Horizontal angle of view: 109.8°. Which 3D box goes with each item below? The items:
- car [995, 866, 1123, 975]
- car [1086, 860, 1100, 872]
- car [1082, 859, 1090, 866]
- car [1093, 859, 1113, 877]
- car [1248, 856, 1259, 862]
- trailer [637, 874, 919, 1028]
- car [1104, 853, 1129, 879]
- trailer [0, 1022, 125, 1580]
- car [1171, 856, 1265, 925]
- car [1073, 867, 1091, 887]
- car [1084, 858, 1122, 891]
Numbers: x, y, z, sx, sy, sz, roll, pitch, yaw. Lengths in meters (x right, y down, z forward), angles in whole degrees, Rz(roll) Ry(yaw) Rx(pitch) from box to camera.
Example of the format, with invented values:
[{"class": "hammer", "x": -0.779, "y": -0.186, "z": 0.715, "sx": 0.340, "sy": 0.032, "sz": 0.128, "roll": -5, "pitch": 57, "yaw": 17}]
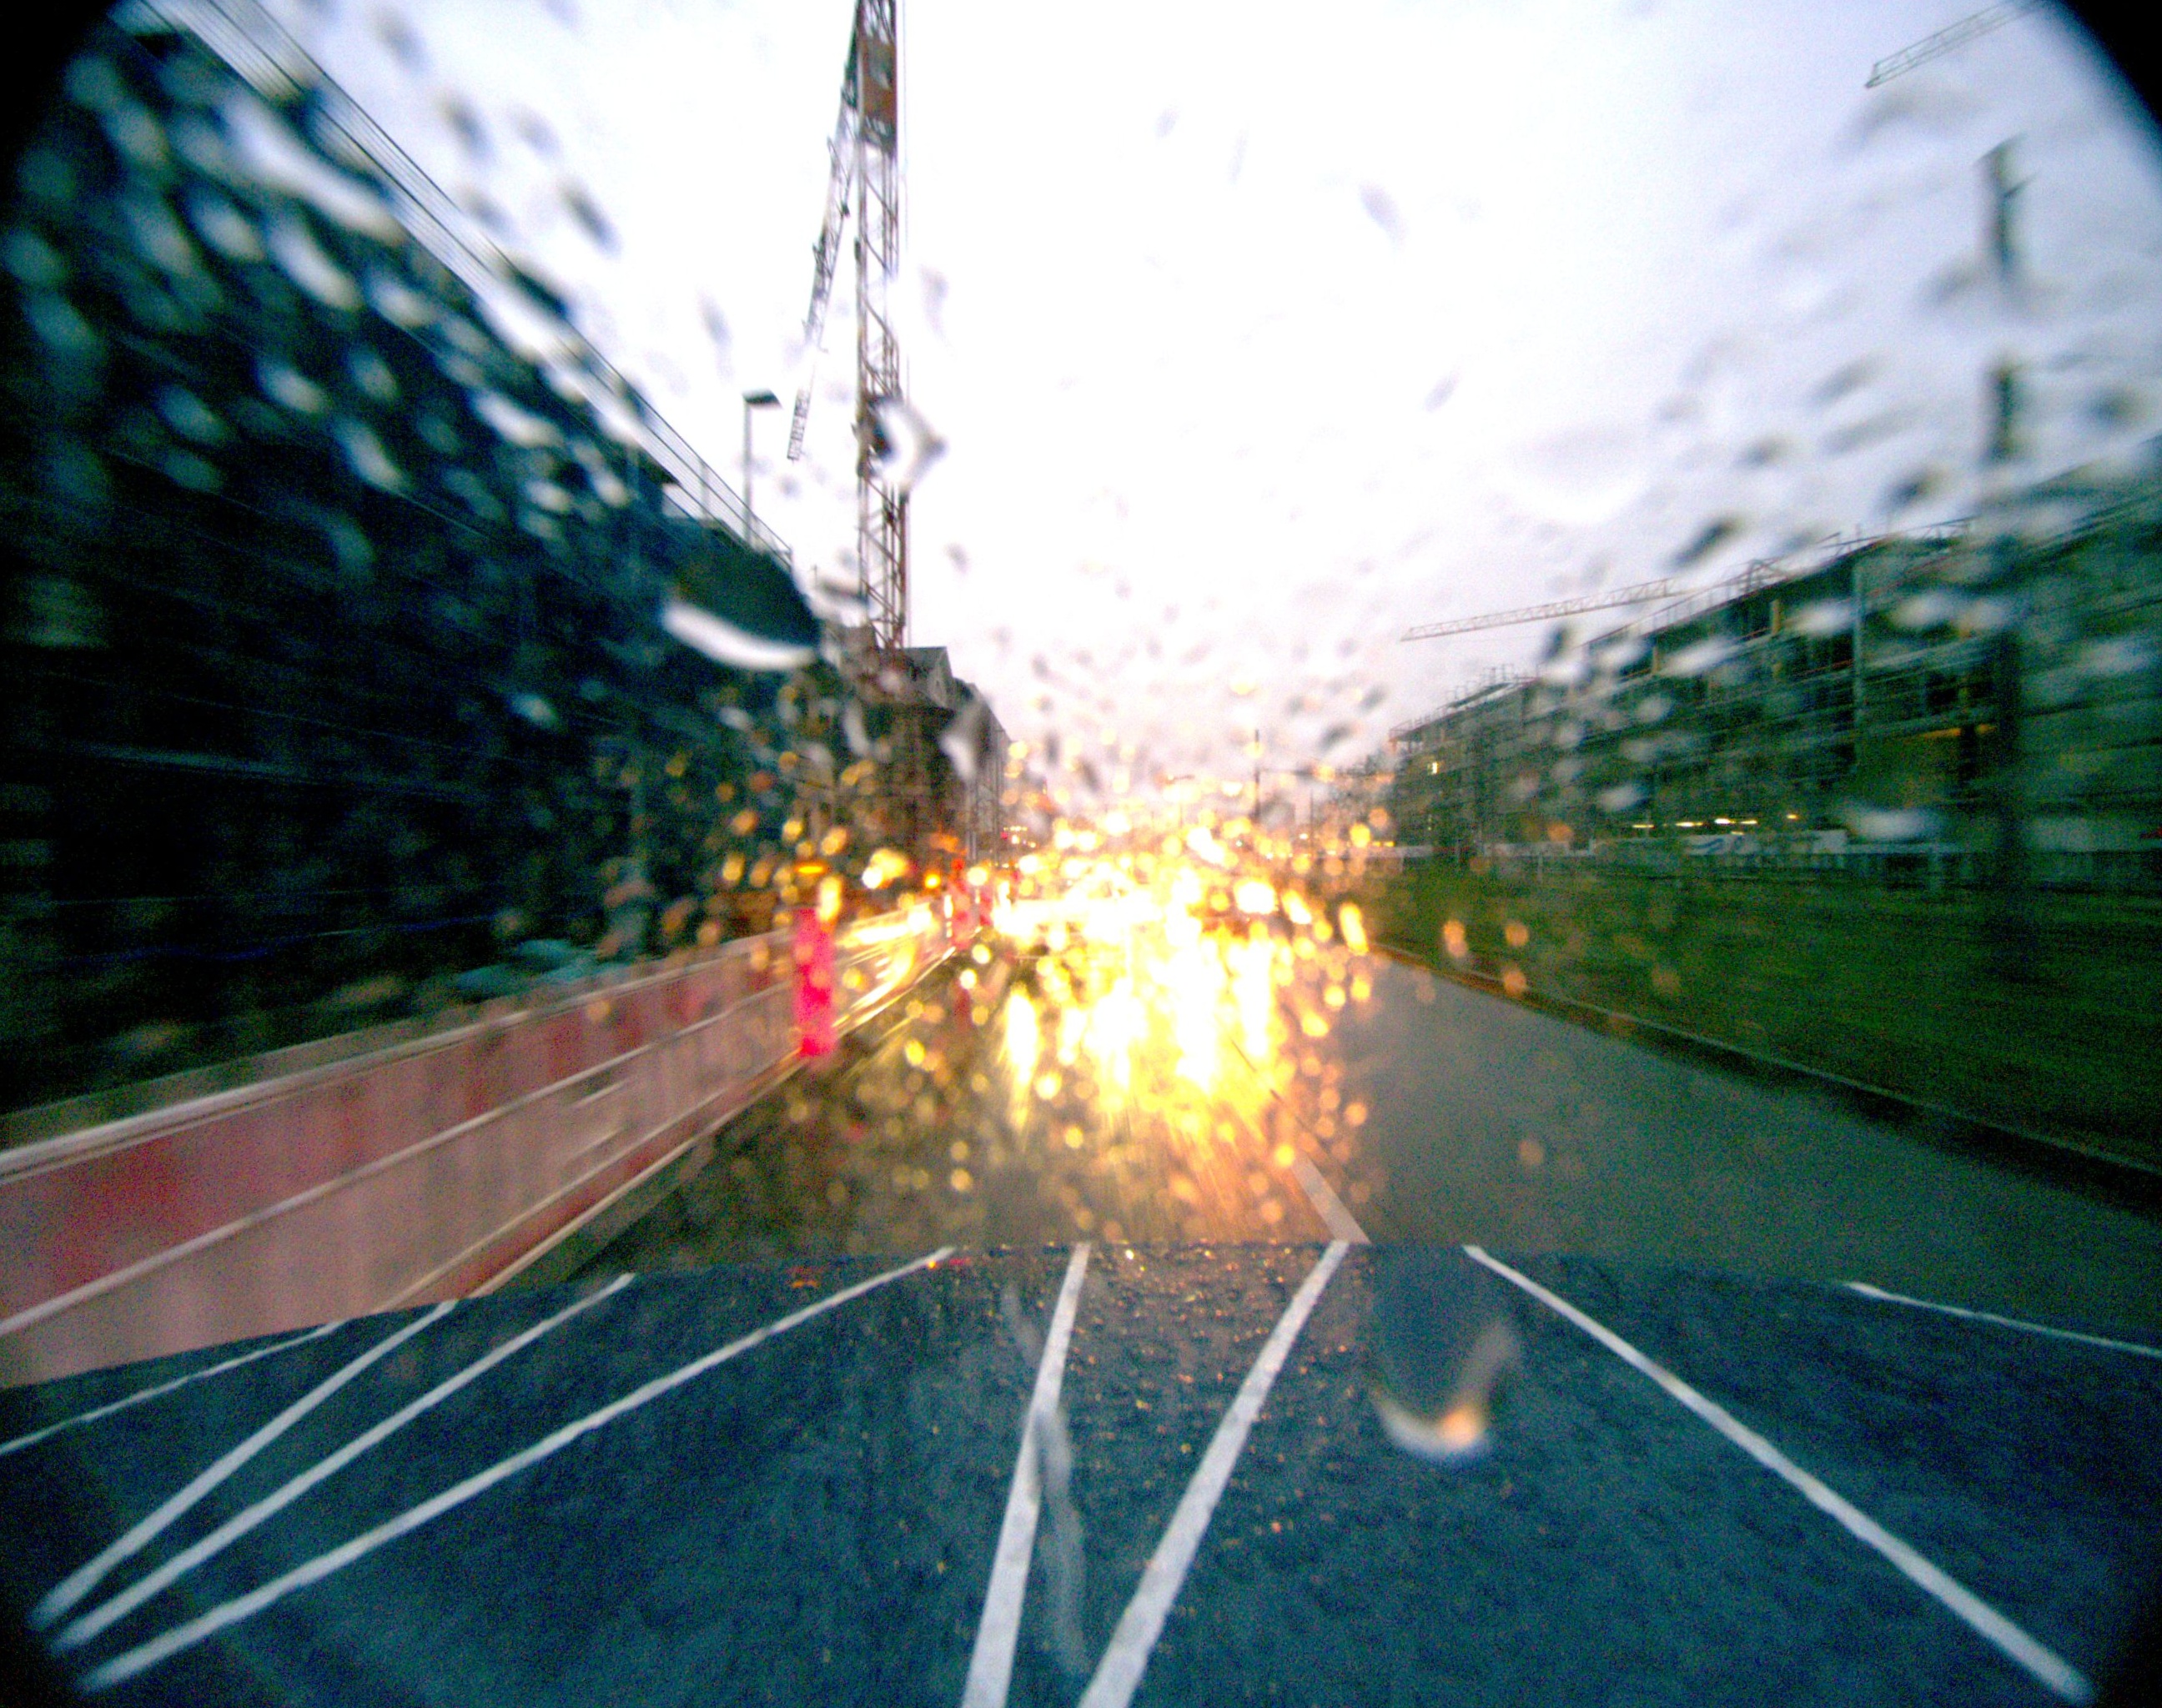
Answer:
[{"class": "car", "x": -0.227, "y": 0.991, "z": 12.999, "sx": 1.814, "sy": 1.464, "sz": 4.139, "roll": -1, "pitch": 0, "yaw": 2}, {"class": "car", "x": 1.656, "y": 1.649, "z": 104.772, "sx": 1.867, "sy": 1.652, "sz": 3.987, "roll": -1, "pitch": 0, "yaw": 1}, {"class": "car", "x": 1.188, "y": 1.900, "z": 174.586, "sx": 1.867, "sy": 1.652, "sz": 3.987, "roll": -1, "pitch": 0, "yaw": 1}, {"class": "car", "x": 2.072, "y": 1.305, "z": 73.338, "sx": 1.867, "sy": 1.652, "sz": 3.987, "roll": -1, "pitch": 0, "yaw": 1}, {"class": "car", "x": 37.608, "y": 1.062, "z": 165.587, "sx": 1.686, "sy": 1.406, "sz": 4.341, "roll": -1, "pitch": 0, "yaw": 3}, {"class": "trailer", "x": -3.683, "y": 1.080, "z": 10.361, "sx": 1.839, "sy": 1.481, "sz": 4.847, "roll": 0, "pitch": 0, "yaw": 1}, {"class": "car", "x": 2.681, "y": 0.863, "z": 58.268, "sx": 1.865, "sy": 1.867, "sz": 4.000, "roll": -1, "pitch": 0, "yaw": 2}, {"class": "trailer", "x": -3.644, "y": 1.143, "z": 0.375, "sx": 1.855, "sy": 1.338, "sz": 3.528, "roll": 0, "pitch": 0, "yaw": 1}, {"class": "car", "x": 3.162, "y": 0.778, "z": 18.230, "sx": 1.808, "sy": 1.444, "sz": 4.006, "roll": 0, "pitch": 0, "yaw": 4}, {"class": "car", "x": 0.116, "y": 2.544, "z": 84.854, "sx": 1.998, "sy": 2.002, "sz": 4.000, "roll": -1, "pitch": 0, "yaw": 1}, {"class": "car", "x": 1.237, "y": 1.121, "z": 42.760, "sx": 1.998, "sy": 1.673, "sz": 4.000, "roll": -1, "pitch": 0, "yaw": 2}]
